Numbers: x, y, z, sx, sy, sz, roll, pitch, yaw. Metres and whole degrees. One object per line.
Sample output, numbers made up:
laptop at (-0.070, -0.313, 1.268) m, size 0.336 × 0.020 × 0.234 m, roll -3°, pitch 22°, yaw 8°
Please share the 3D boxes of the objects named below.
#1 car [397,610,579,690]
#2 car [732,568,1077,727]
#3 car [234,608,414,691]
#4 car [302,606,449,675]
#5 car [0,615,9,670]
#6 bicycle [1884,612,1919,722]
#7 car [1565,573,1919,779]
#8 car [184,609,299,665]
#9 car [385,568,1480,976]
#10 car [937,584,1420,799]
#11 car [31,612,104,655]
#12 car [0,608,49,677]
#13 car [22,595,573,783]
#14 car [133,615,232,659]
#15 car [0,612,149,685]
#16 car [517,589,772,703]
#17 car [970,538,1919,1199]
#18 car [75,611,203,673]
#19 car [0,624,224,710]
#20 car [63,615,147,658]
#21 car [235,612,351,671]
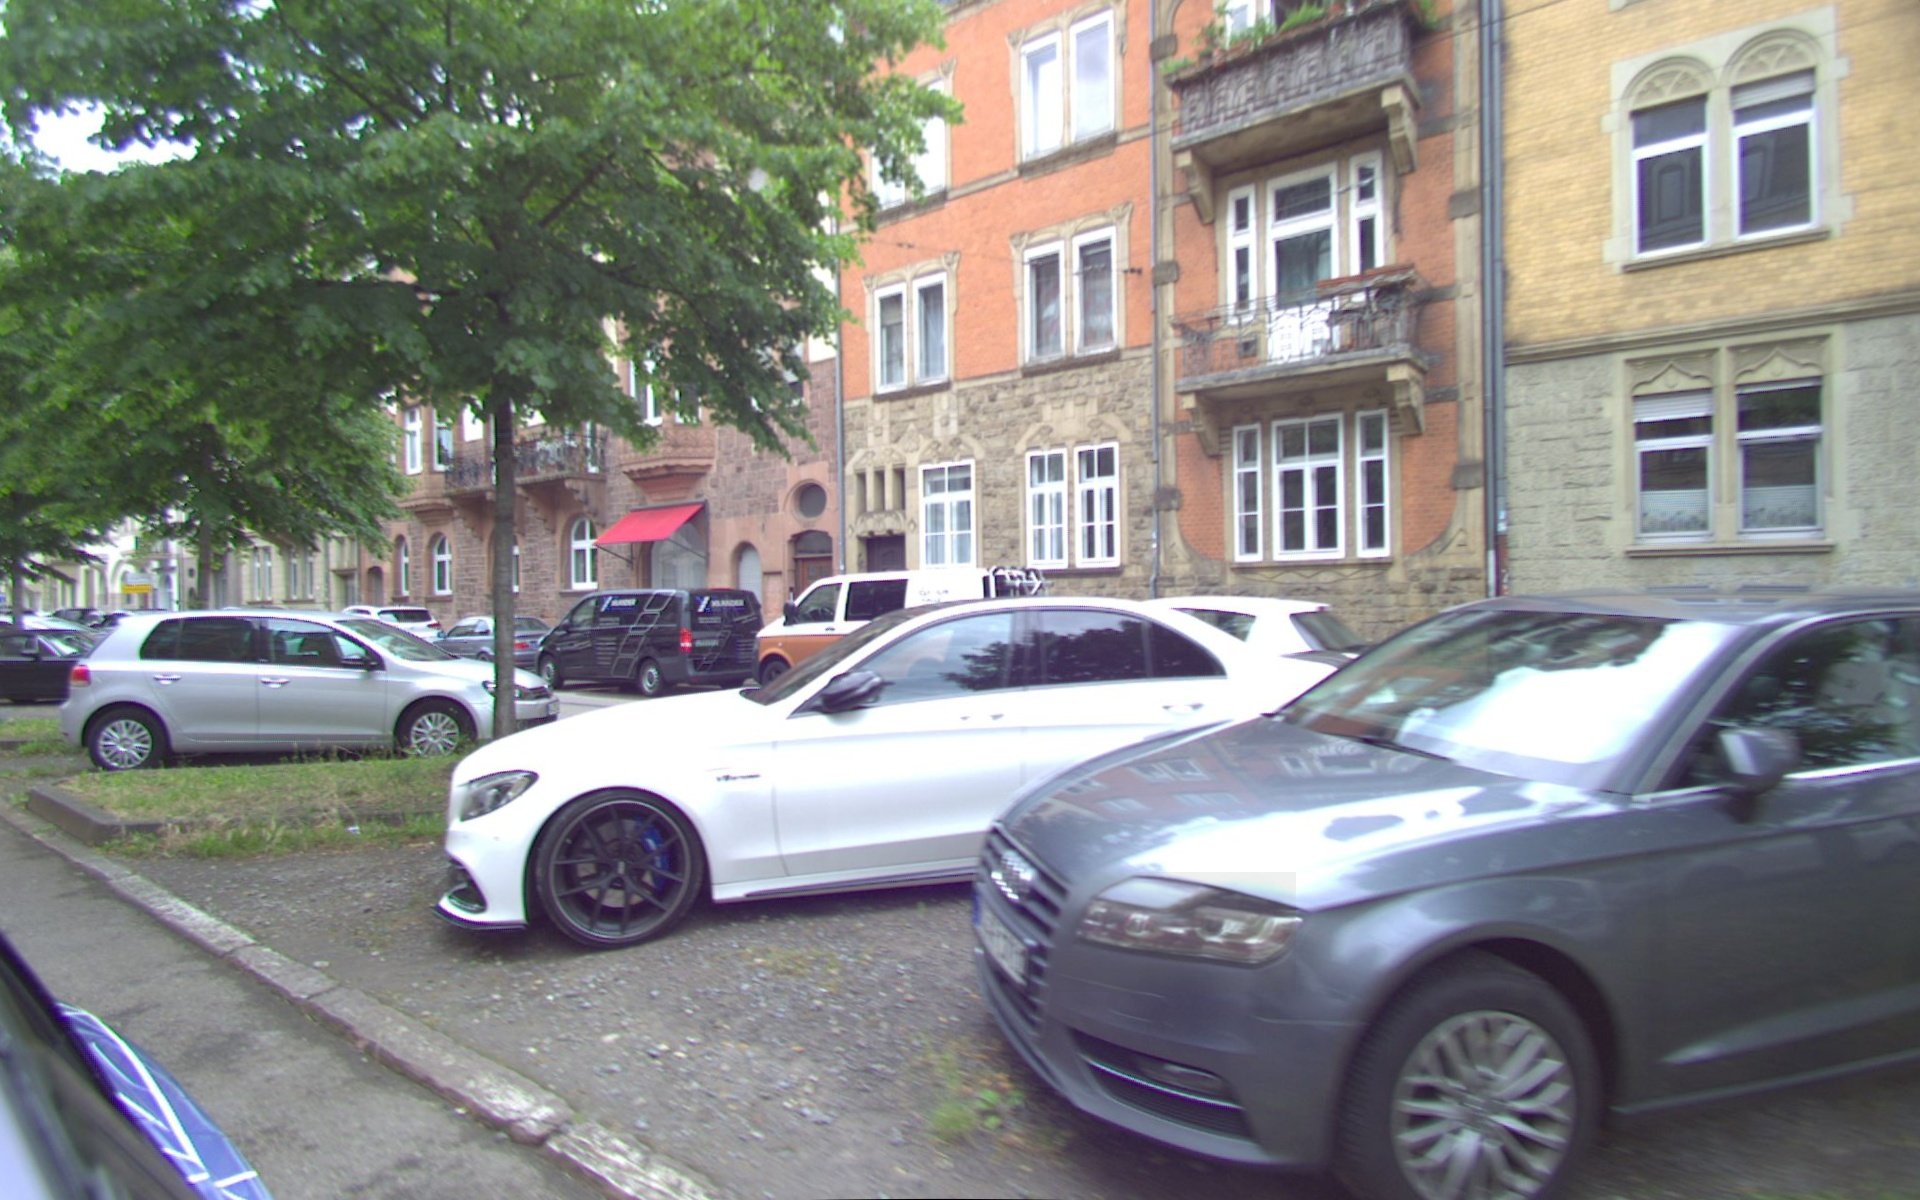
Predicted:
car at (-10.383, 1.017, 22.131) m, size 4.547 × 1.553 × 1.724 m, roll -1°, pitch 0°, yaw 38°
car at (-0.956, 0.603, 14.870) m, size 5.086 × 1.967 × 1.864 m, roll -1°, pitch 0°, yaw 38°
car at (-13.094, 0.938, 20.739) m, size 4.615 × 1.515 × 1.628 m, roll -1°, pitch 0°, yaw 38°
car at (-15.267, 1.002, 26.340) m, size 4.547 × 1.639 × 1.724 m, roll -1°, pitch 0°, yaw 38°
car at (-28.400, 1.186, 26.706) m, size 4.470 × 1.501 × 2.039 m, roll -1°, pitch 0°, yaw -8°
bicycle at (10.549, 0.652, 9.808) m, size 2.255 × 1.081 × 0.704 m, roll -1°, pitch 0°, yaw 37°
car at (7.071, 0.579, 8.815) m, size 2.945 × 1.562 × 1.620 m, roll -1°, pitch 0°, yaw 37°
car at (-22.698, 1.125, 31.922) m, size 4.314 × 1.641 × 1.752 m, roll -1°, pitch 0°, yaw 37°
car at (-0.060, 0.620, 5.133) m, size 4.610 × 1.445 × 1.904 m, roll -1°, pitch 0°, yaw -13°
car at (1.815, 0.658, 8.993) m, size 3.877 × 1.515 × 1.629 m, roll -1°, pitch 0°, yaw 37°
car at (-41.494, 1.530, 47.027) m, size 4.425 × 1.885 × 1.833 m, roll -1°, pitch -1°, yaw 39°
car at (-25.454, 1.056, 24.772) m, size 4.461 × 1.645 × 1.768 m, roll -1°, pitch 0°, yaw -8°
car at (-6.030, 0.745, 9.733) m, size 4.050 × 1.495 × 1.801 m, roll -1°, pitch 0°, yaw -11°
car at (-27.719, 1.269, 36.048) m, size 4.223 × 1.449 × 1.788 m, roll -1°, pitch 0°, yaw 37°
car at (-19.518, 0.993, 20.478) m, size 4.593 × 1.378 × 1.761 m, roll -1°, pitch 0°, yaw -9°
car at (-5.795, 0.745, 18.248) m, size 5.109 × 1.795 × 1.797 m, roll -1°, pitch 0°, yaw 38°
car at (2.340, 0.591, 3.175) m, size 4.269 × 1.445 × 1.903 m, roll -1°, pitch 0°, yaw -12°
car at (-23.094, 1.126, 28.420) m, size 4.540 × 1.591 × 1.788 m, roll -1°, pitch 0°, yaw 38°
car at (-14.310, 1.047, 16.092) m, size 3.900 × 1.211 × 1.671 m, roll -1°, pitch 0°, yaw -8°
car at (-35.514, 1.473, 42.002) m, size 4.266 × 1.692 × 1.788 m, roll -1°, pitch 0°, yaw 37°
car at (-19.182, 1.141, 29.058) m, size 3.716 × 1.571 × 1.646 m, roll -1°, pitch 0°, yaw 37°
